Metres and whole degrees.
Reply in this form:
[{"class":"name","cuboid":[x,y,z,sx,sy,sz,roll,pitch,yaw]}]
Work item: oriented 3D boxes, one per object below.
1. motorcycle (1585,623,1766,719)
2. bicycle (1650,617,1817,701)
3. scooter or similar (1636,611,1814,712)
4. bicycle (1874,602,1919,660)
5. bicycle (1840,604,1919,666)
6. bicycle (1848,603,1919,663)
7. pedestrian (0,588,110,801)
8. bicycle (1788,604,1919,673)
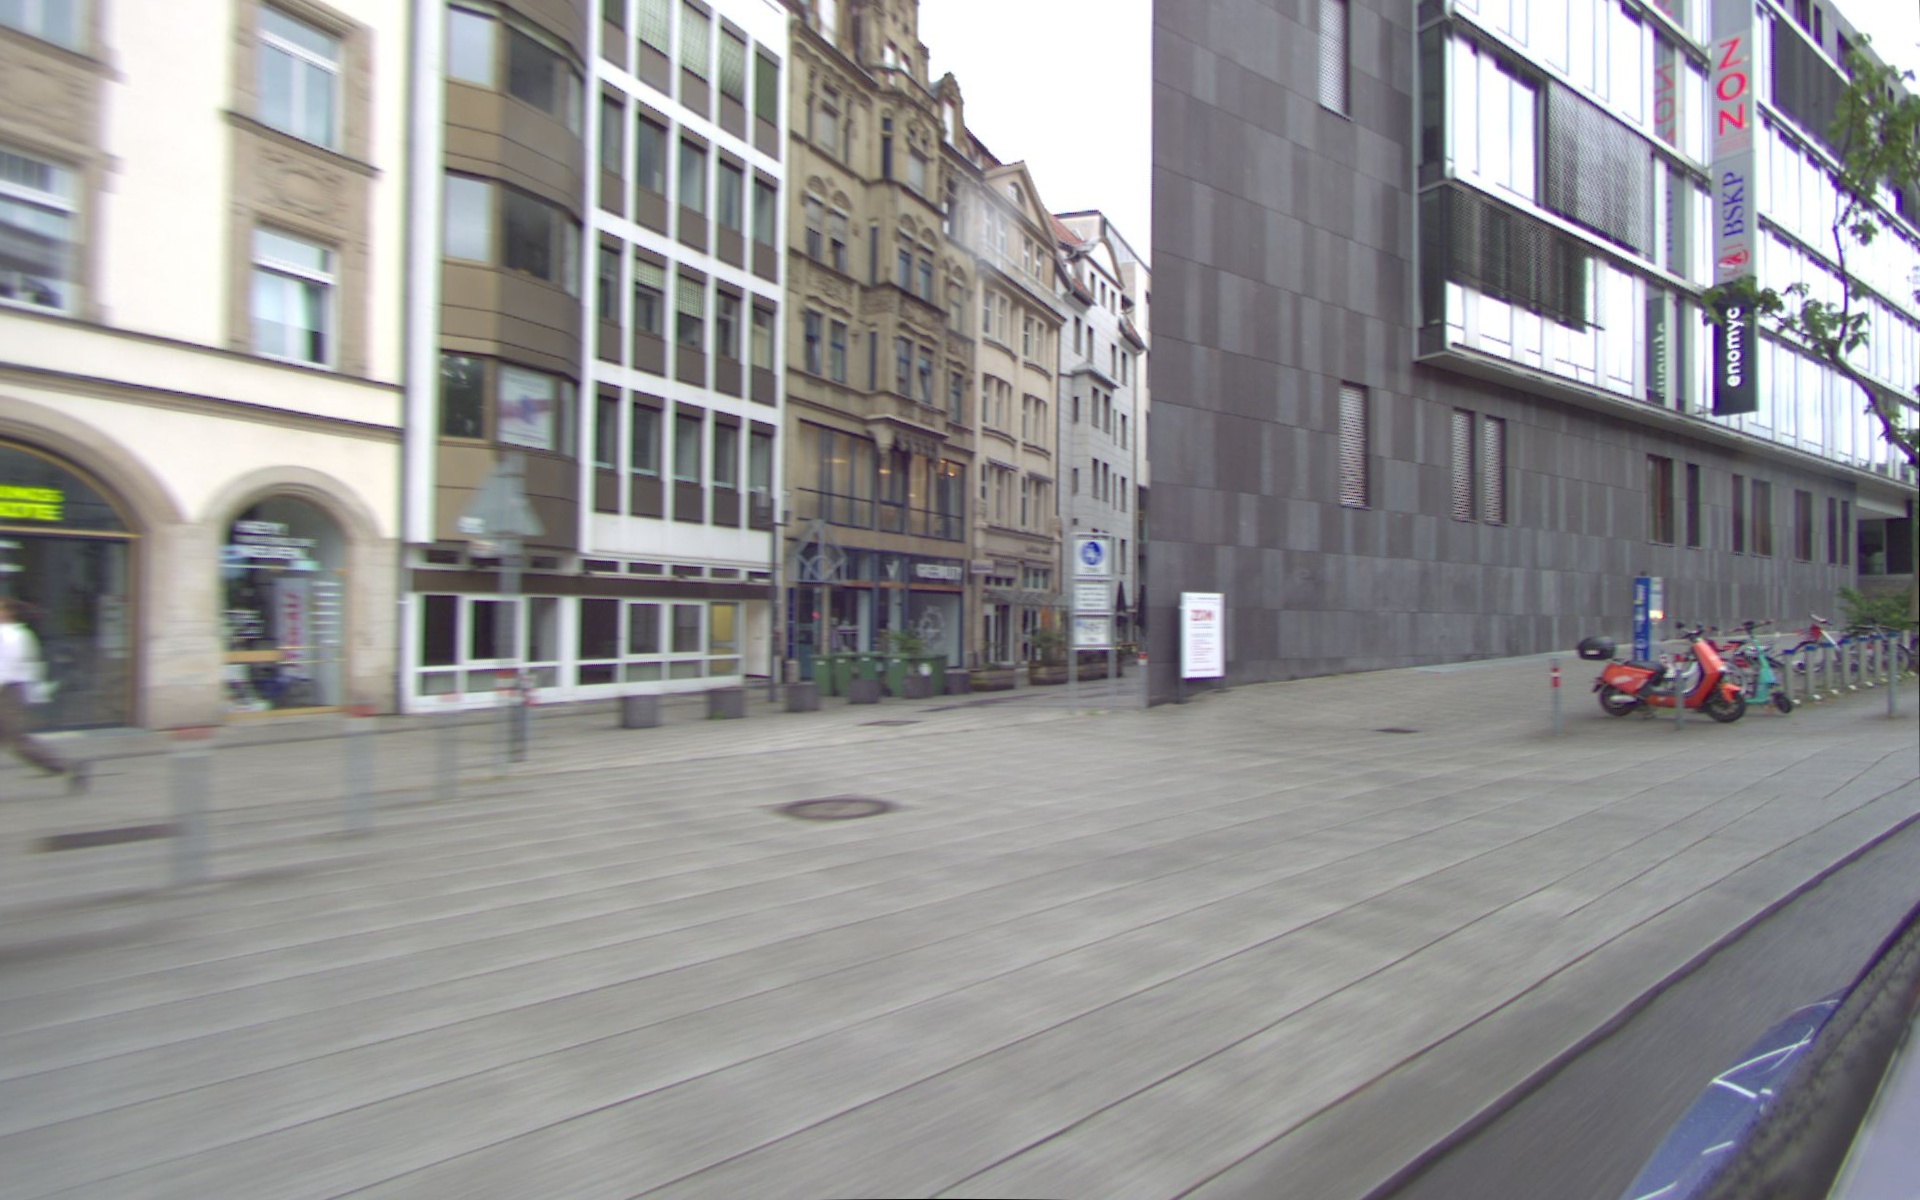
[{"class":"motorcycle","cuboid":[9.304,0.896,13.226,0.585,1.154,1.796,-1,-1,-38]},{"class":"bicycle","cuboid":[11.276,0.840,14.804,0.658,1.122,1.798,-1,-1,-39]},{"class":"scooter or similar","cuboid":[10.292,0.808,13.679,0.585,1.259,1.796,-1,-1,-38]},{"class":"bicycle","cuboid":[18.544,0.586,19.107,0.546,1.082,1.798,-1,-1,-37]},{"class":"bicycle","cuboid":[17.268,0.633,18.404,0.546,1.082,1.798,-1,-1,-37]},{"class":"bicycle","cuboid":[17.721,0.608,18.762,0.546,1.082,1.798,-1,-1,-37]},{"class":"pedestrian","cuboid":[-8.639,0.844,9.244,0.871,1.861,1.230,-4,-2,42]},{"class":"bicycle","cuboid":[15.664,0.658,17.616,0.658,1.122,1.798,-1,-1,-39]}]
